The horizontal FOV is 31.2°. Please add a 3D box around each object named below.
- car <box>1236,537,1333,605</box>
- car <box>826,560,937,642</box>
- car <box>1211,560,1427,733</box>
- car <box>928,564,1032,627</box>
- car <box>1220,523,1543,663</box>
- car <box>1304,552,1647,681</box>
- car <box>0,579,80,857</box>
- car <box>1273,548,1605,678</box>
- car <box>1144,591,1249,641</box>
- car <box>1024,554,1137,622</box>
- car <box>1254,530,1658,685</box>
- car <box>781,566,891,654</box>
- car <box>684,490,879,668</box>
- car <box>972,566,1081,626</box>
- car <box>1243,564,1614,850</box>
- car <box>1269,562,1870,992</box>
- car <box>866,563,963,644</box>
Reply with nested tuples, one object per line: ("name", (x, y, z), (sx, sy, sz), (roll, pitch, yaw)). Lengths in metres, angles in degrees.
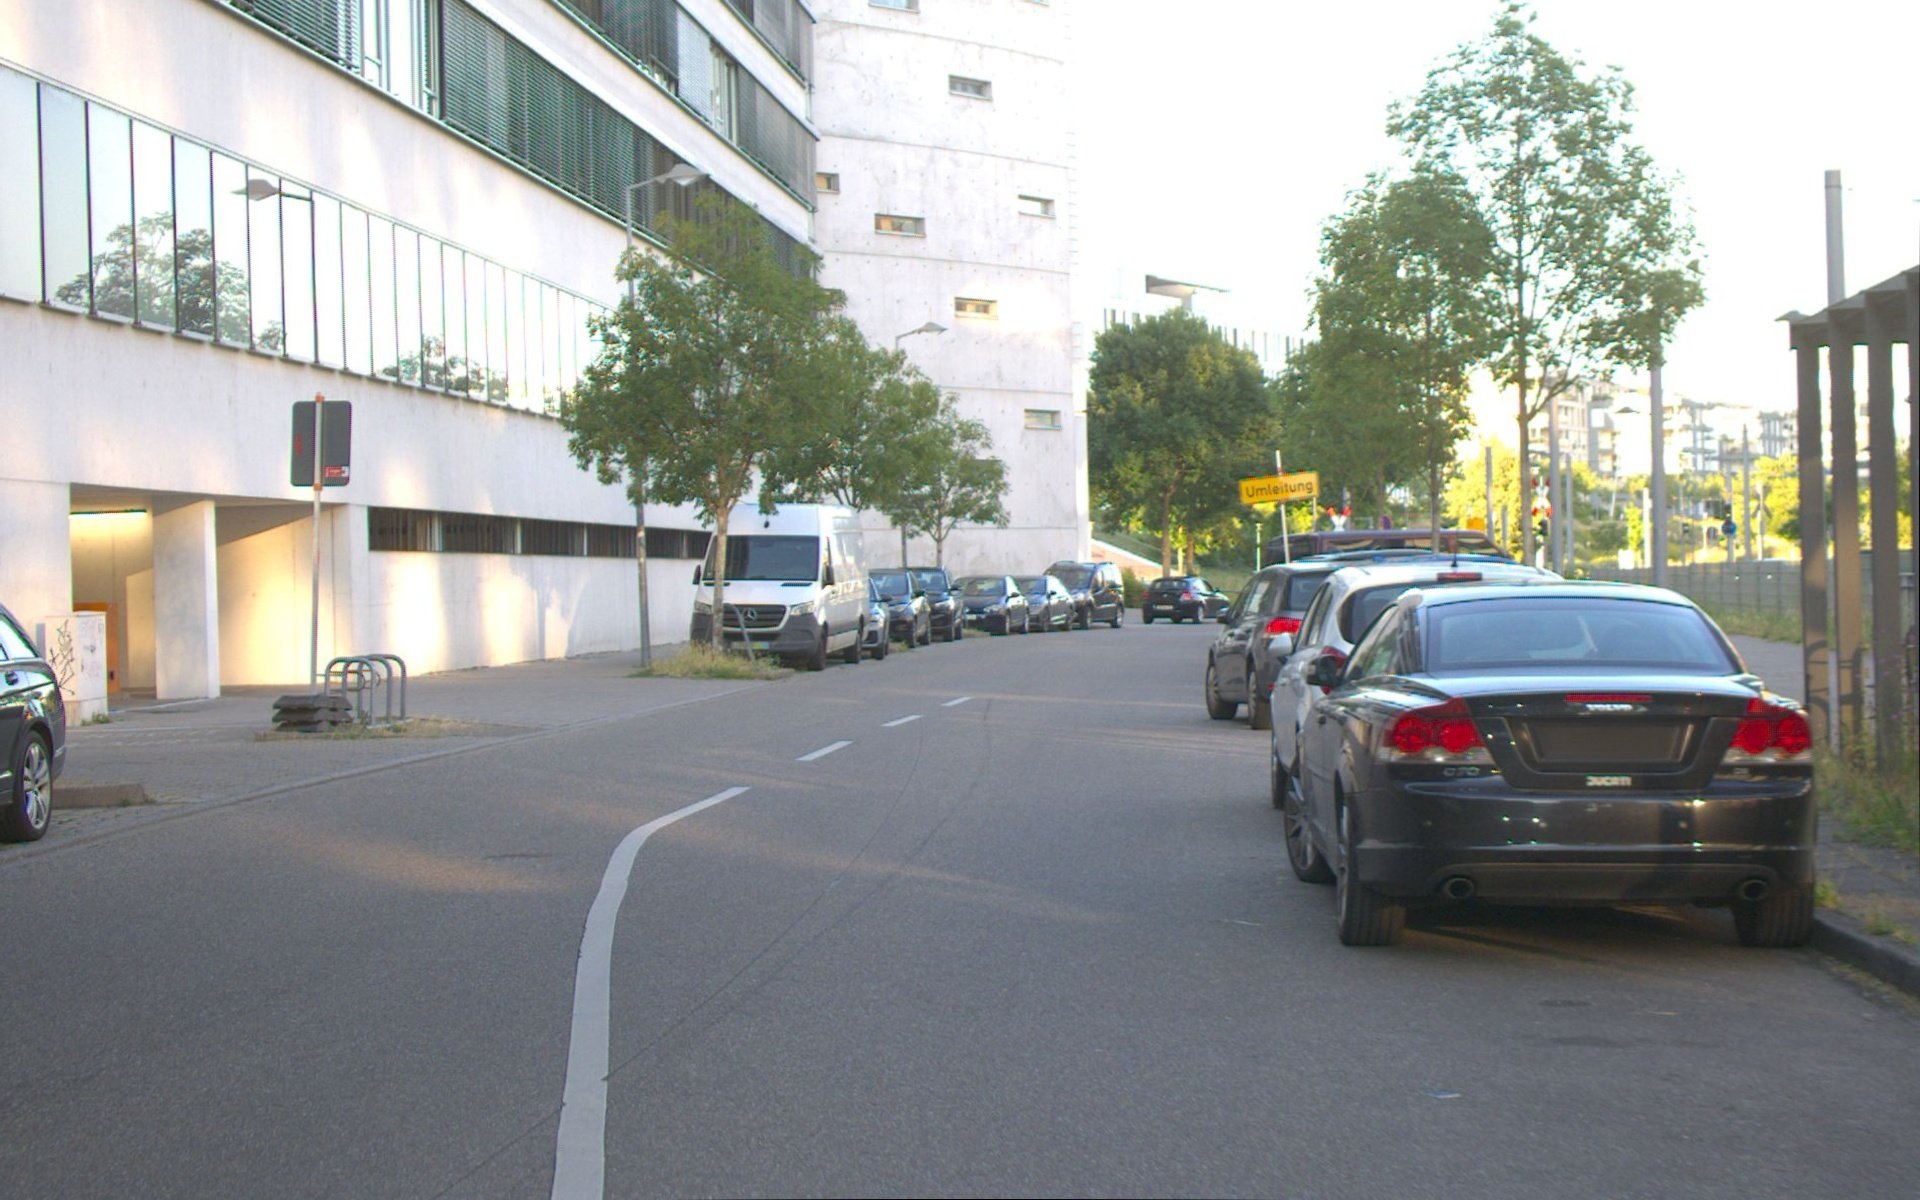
("car", (7.456, -0.672, 78.831), (1.723, 1.462, 3.551), (-2, 1, 13))
("car", (-1.554, -0.005, 69.132), (1.756, 1.555, 4.042), (1, 1, 5))
("car", (3.228, 0.400, 31.518), (1.731, 1.461, 4.000), (1, 0, 3))
("car", (0.513, -0.127, 83.570), (1.723, 1.452, 4.269), (1, 1, 11))
("car", (6.379, -0.130, 51.918), (4.588, 2.028, 1.872), (0, 1, -29))
("car", (7.291, 0.207, 48.553), (4.588, 1.743, 1.872), (0, 1, -29))
("car", (-5.914, 0.650, 17.420), (1.715, 1.447, 4.399), (-1, 1, 1))
("car", (6.148, 0.179, 44.052), (3.987, 1.589, 1.737), (1, 0, -31))
("car", (7.169, 0.466, 103.958), (1.946, 1.378, 4.394), (1, 1, 21))
("car", (3.323, -0.354, 94.158), (1.759, 1.792, 4.458), (1, 1, 20))
("car", (5.431, 0.079, 37.586), (3.987, 1.515, 1.928), (-2, -1, -30))
("car", (-2.150, 0.154, 60.448), (1.756, 1.435, 3.901), (1, 1, 0))
("car", (-2.717, -0.372, 54.182), (1.959, 2.608, 6.891), (1, 1, 6))
("car", (1.755, -0.122, 89.068), (1.723, 1.452, 4.690), (1, 1, 15))
("car", (2.579, 0.529, 19.768), (1.676, 1.447, 4.187), (-1, 1, 2))
("car", (2.317, 0.591, 14.192), (1.787, 1.447, 4.515), (-1, 1, 2))
("car", (-0.970, 0.053, 74.917), (1.756, 1.648, 3.948), (1, 1, 4))
